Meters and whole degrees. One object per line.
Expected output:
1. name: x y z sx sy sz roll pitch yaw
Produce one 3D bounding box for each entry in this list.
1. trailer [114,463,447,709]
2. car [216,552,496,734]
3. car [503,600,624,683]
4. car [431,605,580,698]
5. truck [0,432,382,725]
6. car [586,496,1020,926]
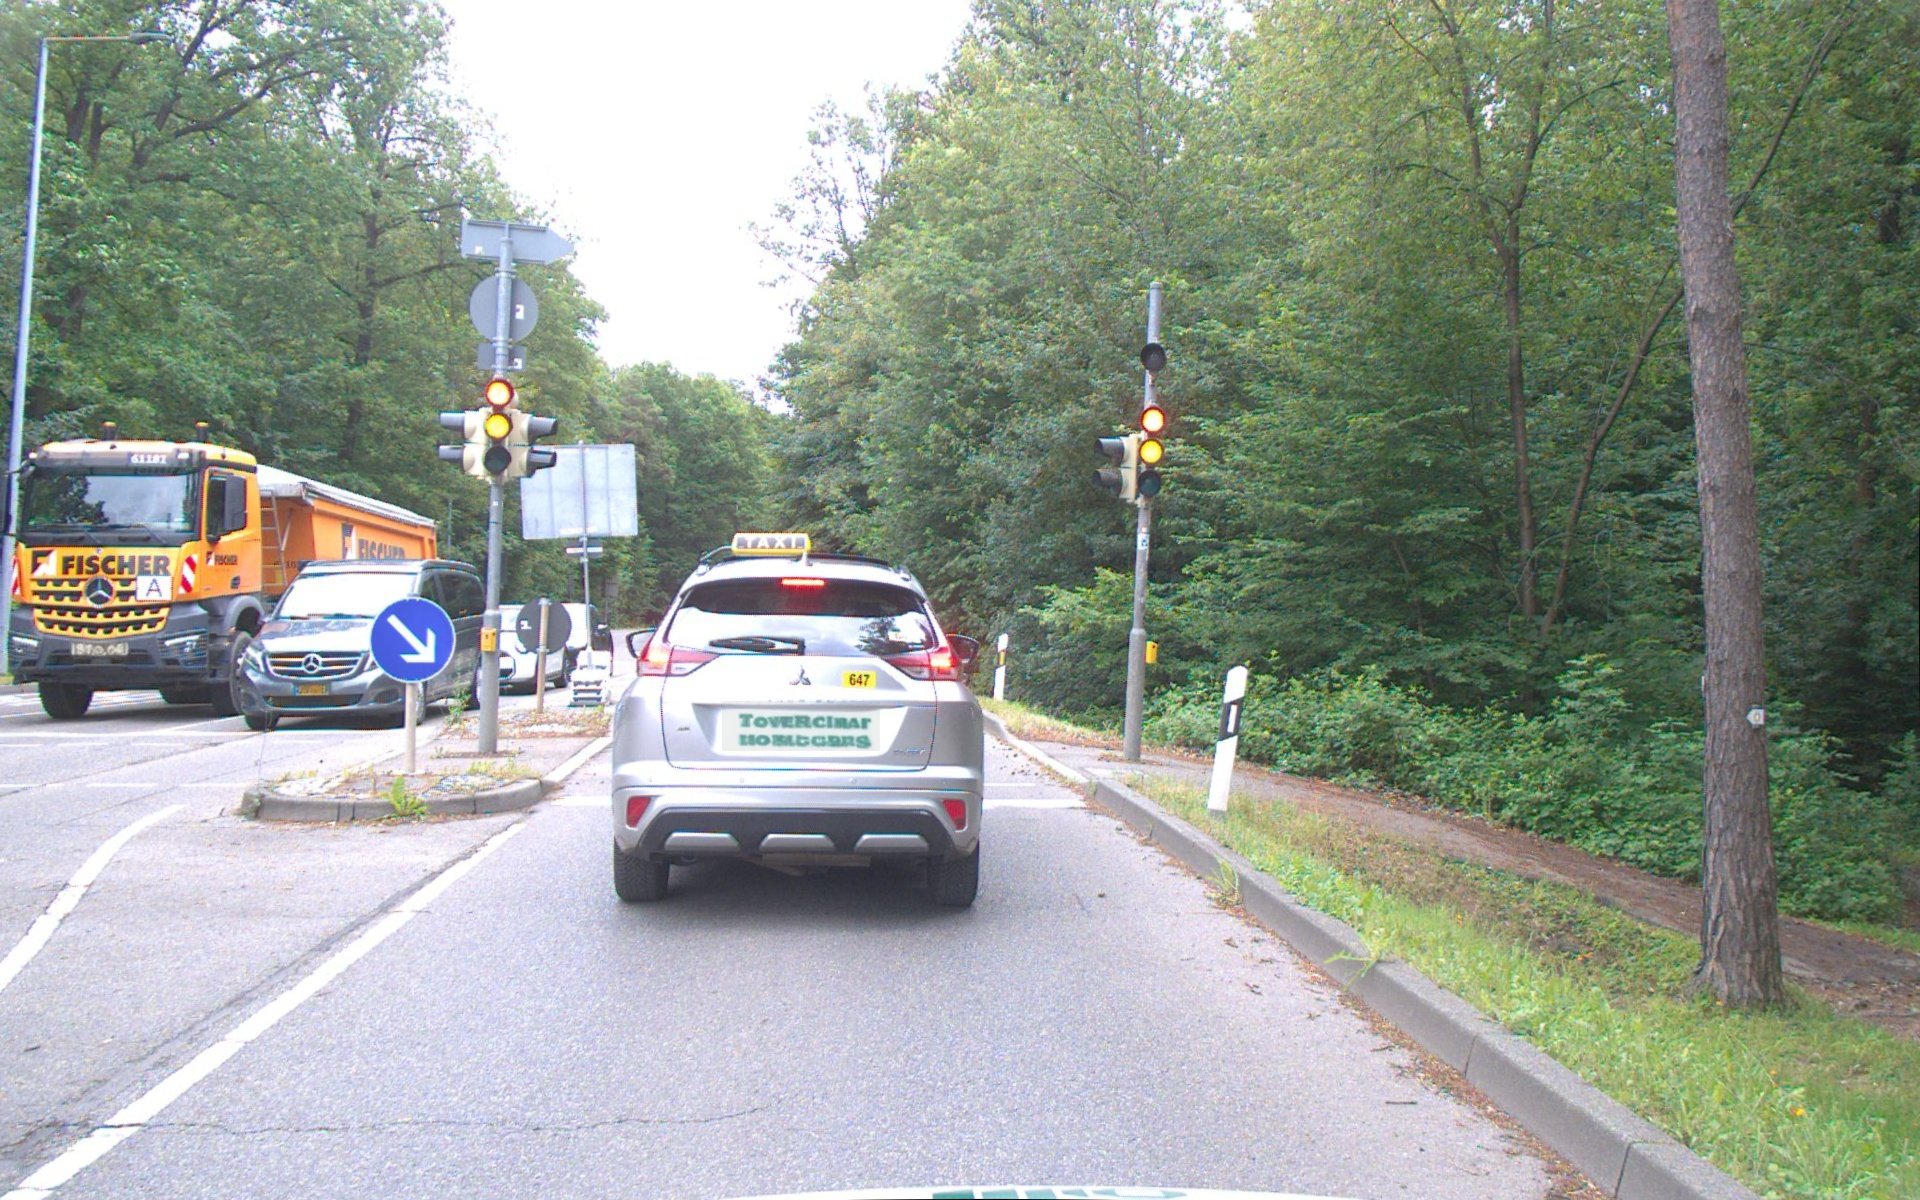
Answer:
1. trailer: -10.665 -0.135 27.044 2.686 3.376 8.557 0 -1 -6
2. car: -7.149 0.476 20.145 1.954 1.927 4.834 -1 -1 -5
3. car: -7.984 0.809 33.581 1.776 1.534 3.718 -1 0 -4
4. car: -7.435 0.797 27.375 1.580 1.344 3.719 -1 1 -3
5. truck: -10.233 -0.200 22.766 2.686 3.376 7.150 0 -1 -6
6. car: -0.875 0.485 9.096 1.811 1.811 3.994 2 0 -6
